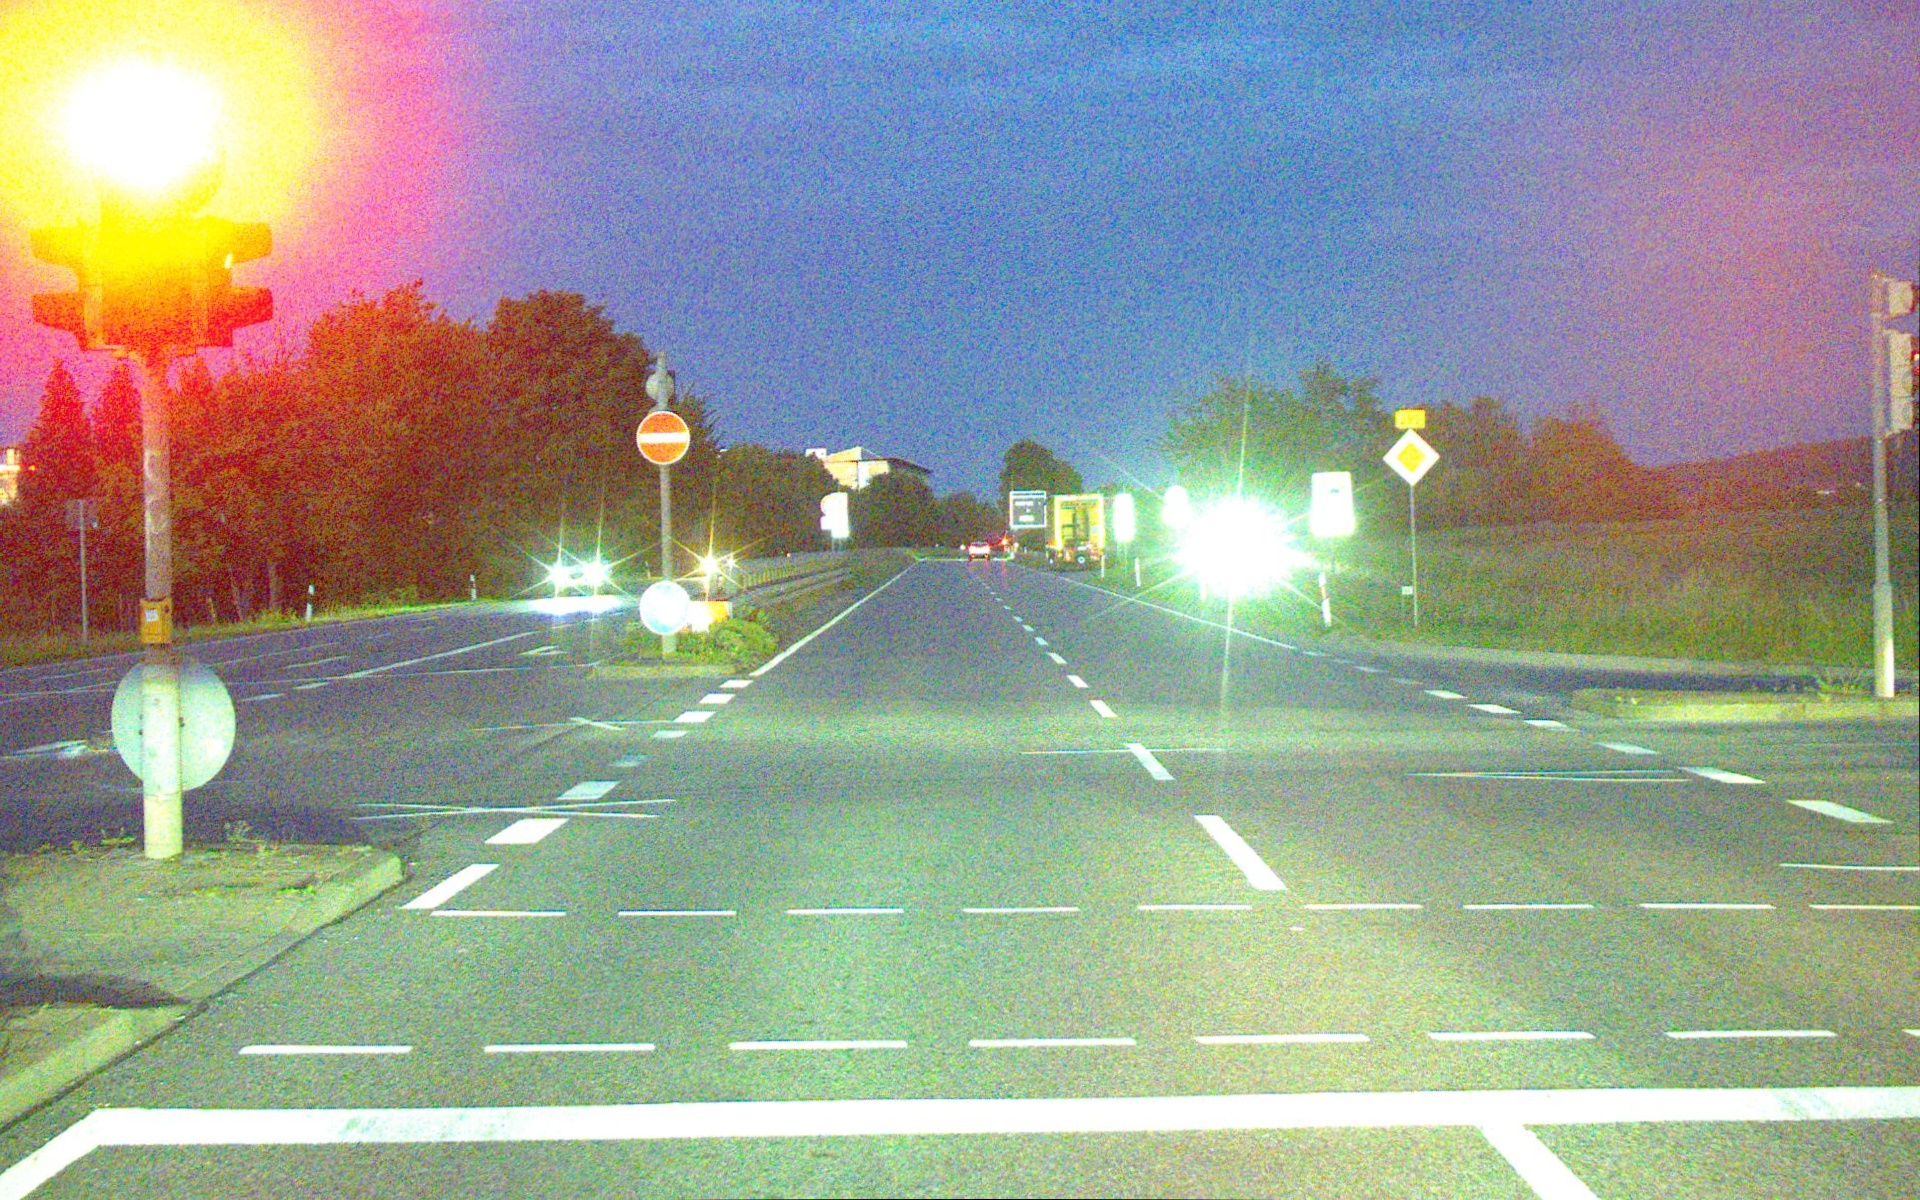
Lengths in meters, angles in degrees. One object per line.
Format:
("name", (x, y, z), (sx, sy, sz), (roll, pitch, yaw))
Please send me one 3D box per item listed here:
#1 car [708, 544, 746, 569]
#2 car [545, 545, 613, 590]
("car", (-13.648, -2.570, 201.520), (1.993, 1.382, 4.000), (-1, 1, -1))
("car", (-13.645, -1.181, 123.381), (1.993, 1.514, 4.298), (-1, 1, -1))
